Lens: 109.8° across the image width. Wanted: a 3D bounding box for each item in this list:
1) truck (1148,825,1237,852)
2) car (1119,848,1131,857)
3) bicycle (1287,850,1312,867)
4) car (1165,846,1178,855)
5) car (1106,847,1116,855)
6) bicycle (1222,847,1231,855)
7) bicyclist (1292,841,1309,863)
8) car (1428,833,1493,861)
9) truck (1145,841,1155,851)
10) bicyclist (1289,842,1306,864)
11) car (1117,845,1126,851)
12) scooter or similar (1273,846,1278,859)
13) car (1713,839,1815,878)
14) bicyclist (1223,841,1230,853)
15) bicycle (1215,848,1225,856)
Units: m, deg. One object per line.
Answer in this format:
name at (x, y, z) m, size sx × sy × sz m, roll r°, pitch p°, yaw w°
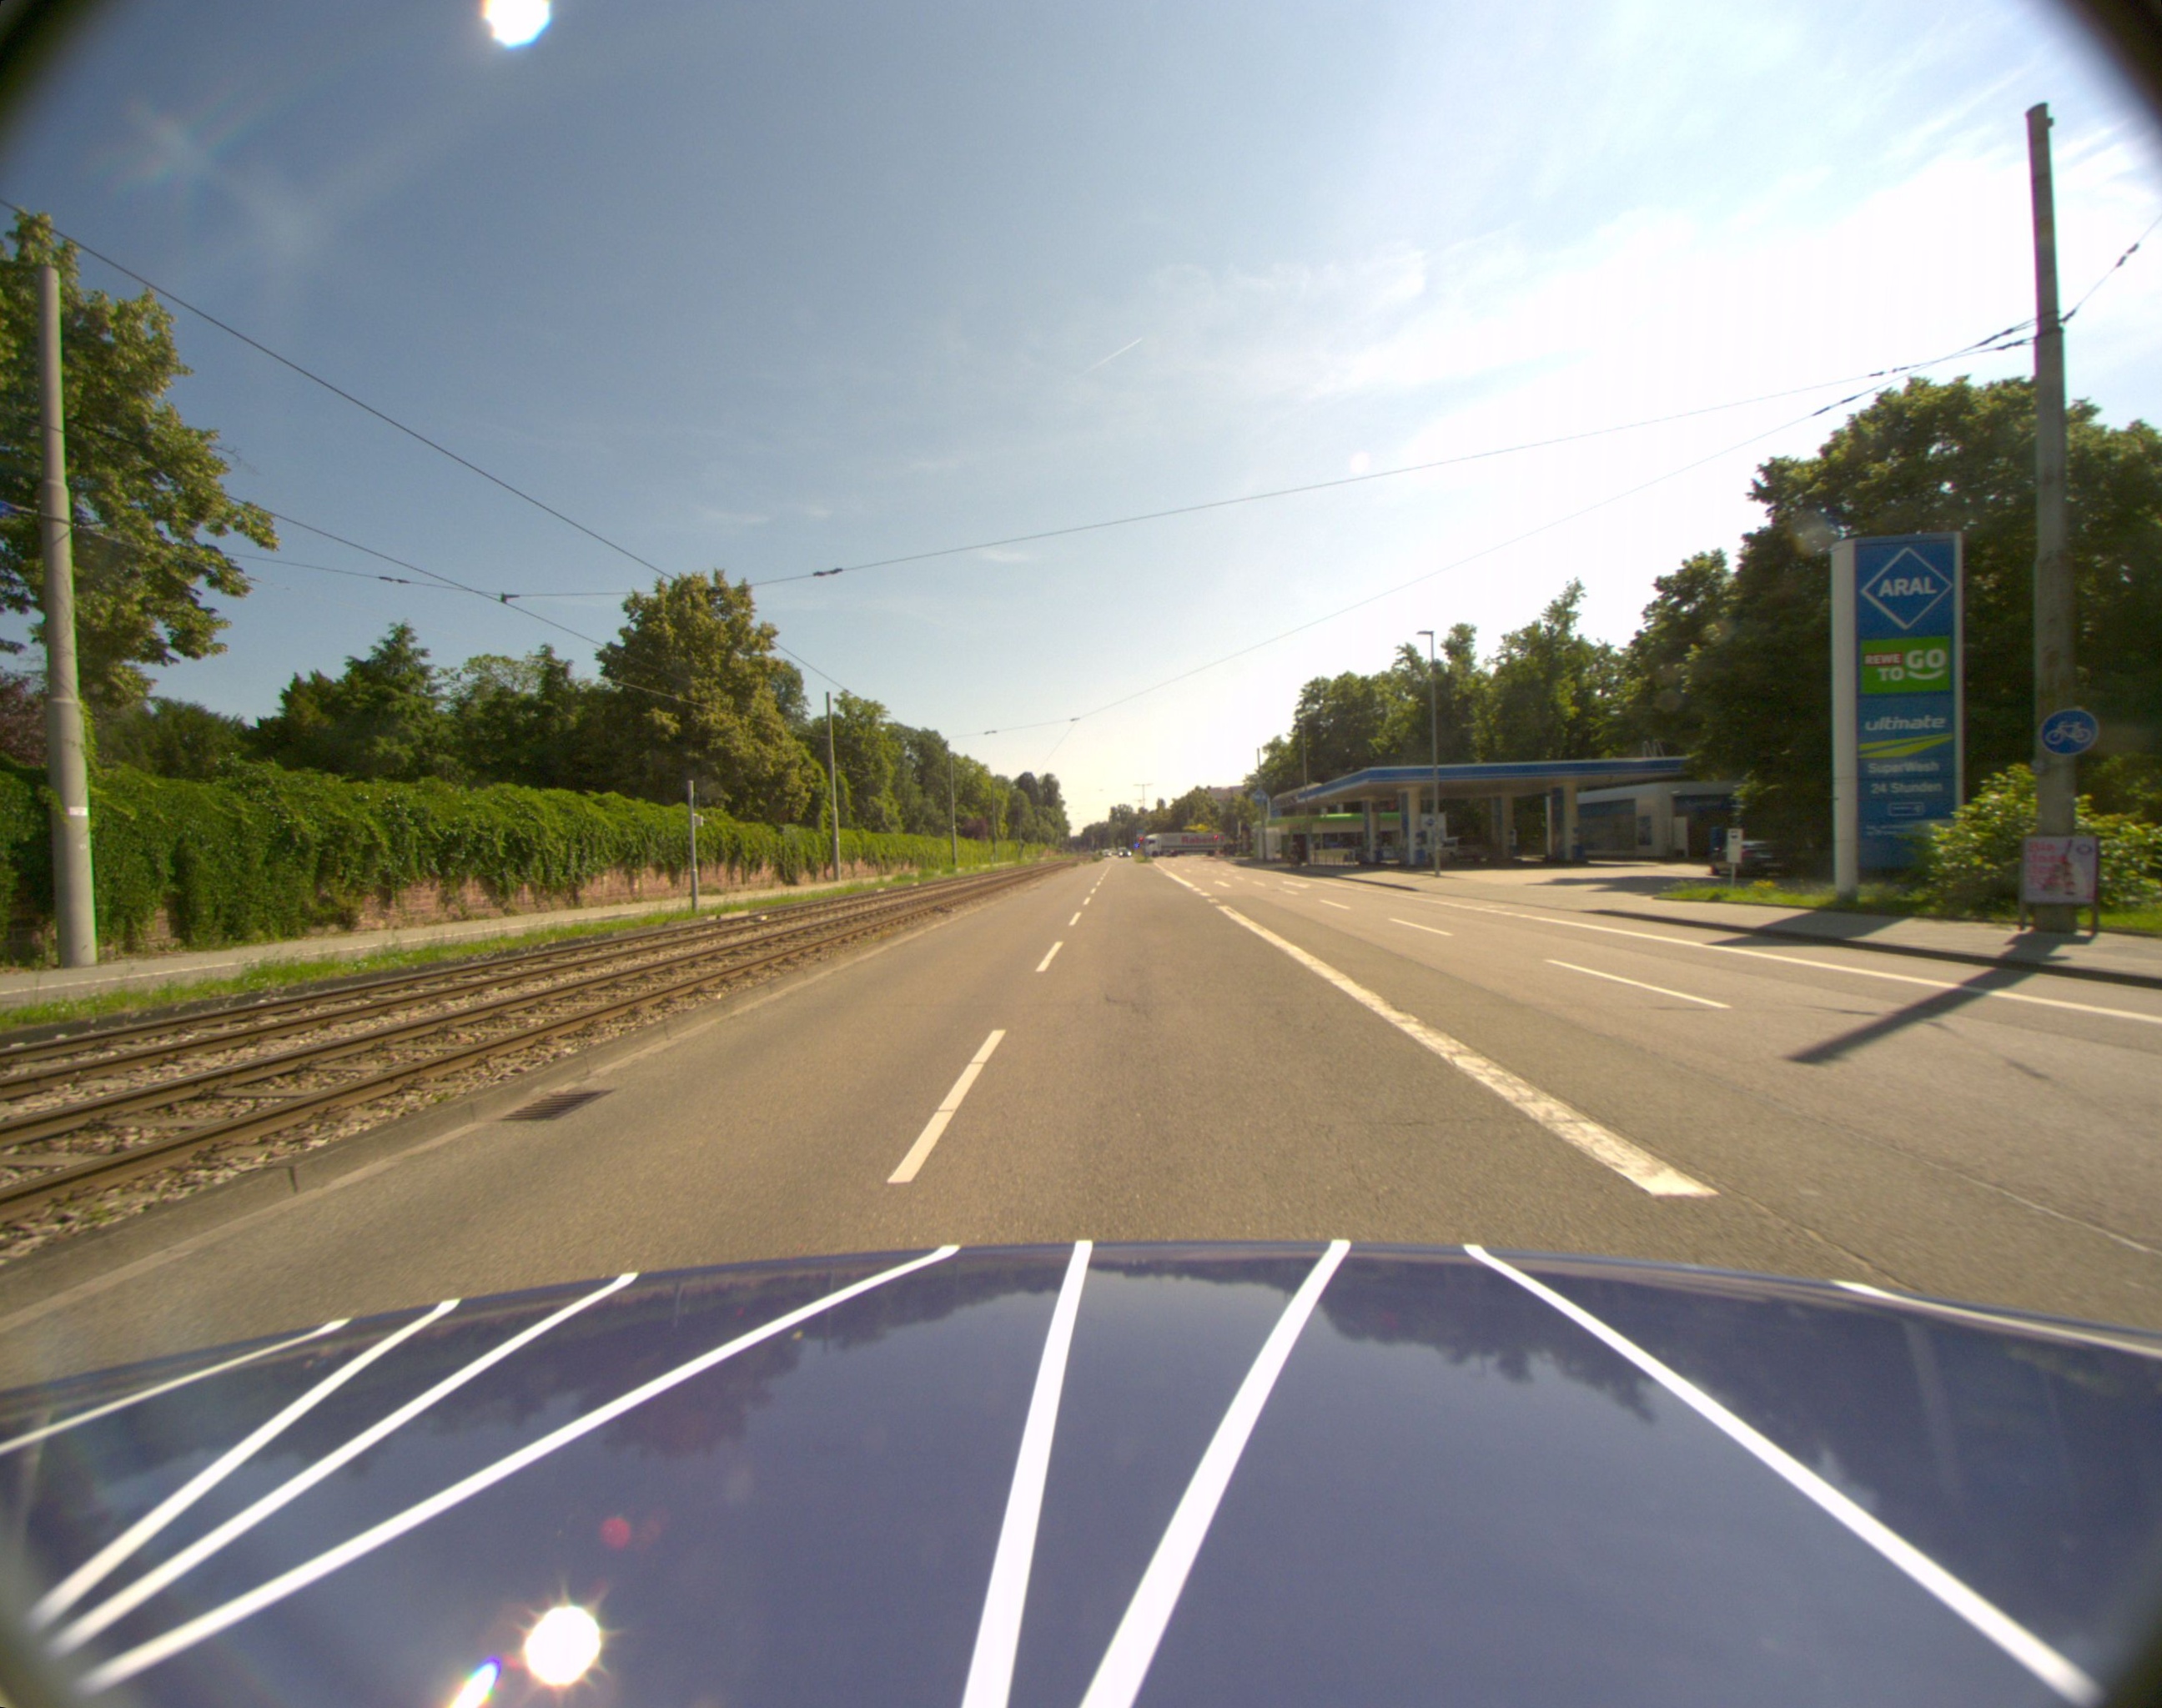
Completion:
truck at (18.386, -2.521, 125.356) m, size 14.302 × 3.984 × 2.852 m, roll -2°, pitch 1°, yaw -8°
car at (8.149, -0.233, 141.440) m, size 1.755 × 1.573 × 4.504 m, roll -2°, pitch 0°, yaw -2°
bicycle at (14.531, 0.304, 50.603) m, size 0.827 × 1.088 × 2.772 m, roll -1°, pitch 1°, yaw 0°
car at (17.326, -0.618, 145.050) m, size 1.755 × 1.501 × 4.397 m, roll -2°, pitch -1°, yaw -2°
car at (6.072, -0.568, 154.849) m, size 1.930 × 1.593 × 4.468 m, roll -3°, pitch 0°, yaw 1°
bicycle at (20.197, -0.423, 105.643) m, size 0.939 × 1.168 × 2.212 m, roll -2°, pitch 0°, yaw 5°
bicyclist at (14.574, -0.140, 50.367) m, size 0.849 × 1.427 × 0.832 m, roll -2°, pitch -1°, yaw 1°
car at (26.702, -0.491, 53.709) m, size 1.848 × 1.771 × 5.965 m, roll -2°, pitch 0°, yaw 3°
truck at (18.408, -2.147, 203.565) m, size 2.335 × 2.652 × 7.361 m, roll -1°, pitch 0°, yaw 4°
bicyclist at (14.600, -0.086, 51.251) m, size 0.849 × 1.427 × 0.833 m, roll -3°, pitch -1°, yaw 1°
car at (11.096, -1.719, 208.610) m, size 1.930 × 1.593 × 4.468 m, roll -3°, pitch 0°, yaw 0°
scooter or similar at (18.378, -0.157, 71.752) m, size 0.442 × 1.230 × 1.346 m, roll -1°, pitch 1°, yaw 13°
car at (25.465, 0.140, 28.505) m, size 1.801 × 1.338 × 4.250 m, roll -1°, pitch 1°, yaw 27°
bicyclist at (20.160, -0.938, 105.485) m, size 0.837 × 1.664 × 0.827 m, roll -3°, pitch -1°, yaw 3°
bicycle at (19.022, -0.301, 103.930) m, size 0.753 × 1.052 × 2.074 m, roll -2°, pitch 0°, yaw -5°
